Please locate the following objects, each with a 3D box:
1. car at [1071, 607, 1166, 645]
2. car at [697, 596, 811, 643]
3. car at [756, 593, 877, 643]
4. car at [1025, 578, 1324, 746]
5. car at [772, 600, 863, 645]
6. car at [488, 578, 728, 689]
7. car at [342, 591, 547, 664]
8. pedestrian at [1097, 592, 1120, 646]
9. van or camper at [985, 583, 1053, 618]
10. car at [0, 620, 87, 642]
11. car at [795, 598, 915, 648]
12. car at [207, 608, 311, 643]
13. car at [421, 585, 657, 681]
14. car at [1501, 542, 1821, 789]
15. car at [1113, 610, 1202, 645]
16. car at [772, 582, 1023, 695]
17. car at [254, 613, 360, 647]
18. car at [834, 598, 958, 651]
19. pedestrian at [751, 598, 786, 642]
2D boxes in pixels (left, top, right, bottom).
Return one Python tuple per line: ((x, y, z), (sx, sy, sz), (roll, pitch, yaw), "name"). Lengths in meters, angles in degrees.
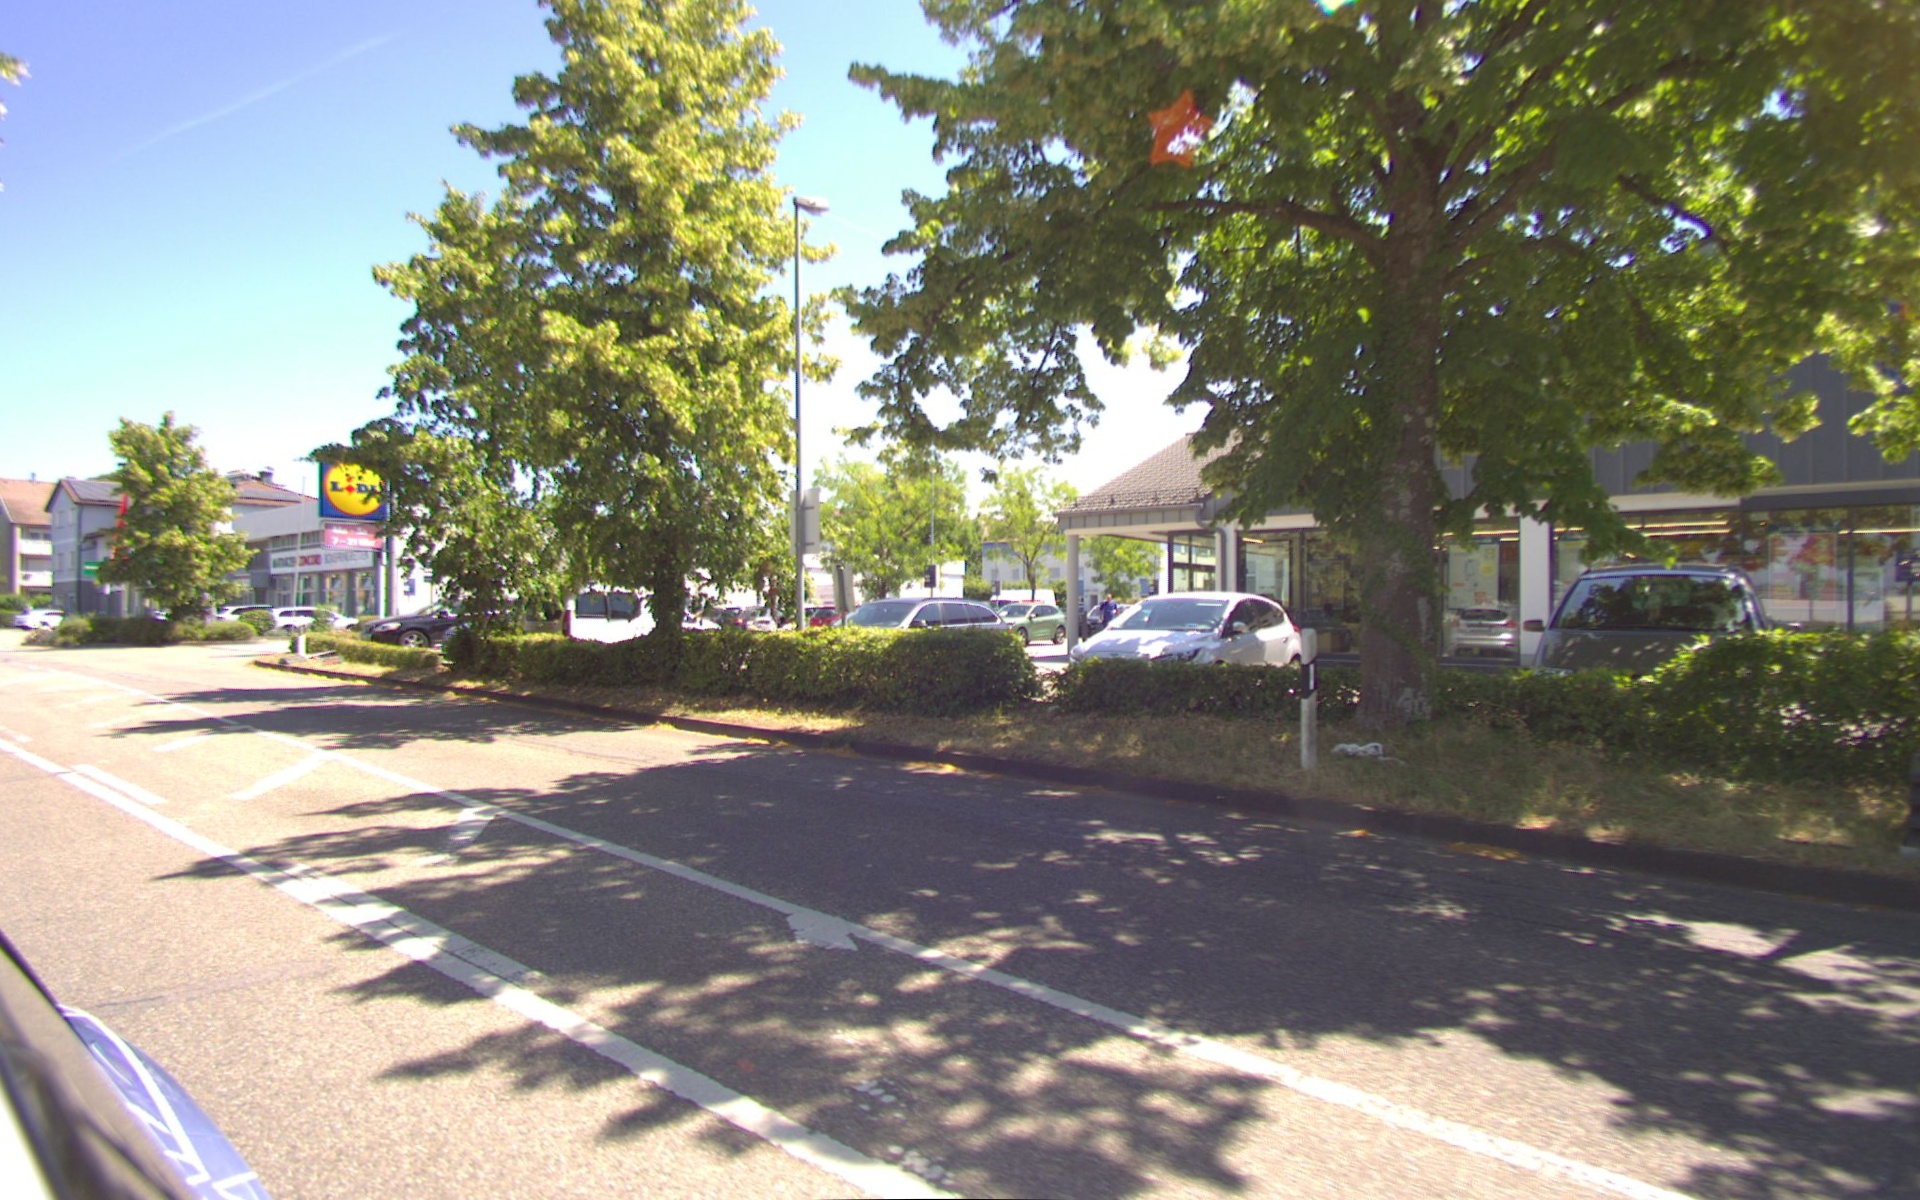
((7.334, 1.185, 46.984), (3.996, 1.613, 1.776), (0, 1, 39), "car")
((-7.812, 0.682, 38.695), (1.905, 1.618, 4.280), (0, 1, 31), "car")
((-5.247, 0.604, 37.478), (2.110, 1.667, 4.274), (0, 1, 36), "car")
((2.834, 0.593, 12.561), (1.892, 1.632, 4.359), (0, 2, 38), "car")
((-9.106, 1.365, 64.337), (5.893, 2.646, 2.259), (0, 2, 39), "car")
((-7.061, 0.566, 20.710), (1.902, 1.995, 4.316), (0, 1, 37), "car")
((-14.223, 0.675, 28.130), (2.099, 1.775, 4.656), (0, 1, 44), "car")
((5.137, 0.653, 34.984), (0.763, 1.819, 0.751), (-1, 1, 10), "pedestrian")
((3.607, -0.003, 61.125), (2.008, 1.951, 4.319), (0, 1, 38), "van or camper")
((-65.815, 2.226, 72.727), (1.920, 1.450, 4.337), (-1, 0, 13), "car")
((-3.630, 0.749, 35.701), (1.824, 1.541, 4.274), (0, 1, 36), "car")
((-37.372, 1.338, 54.004), (4.470, 1.676, 2.005), (-1, 0, -36), "car")
((-9.213, 0.631, 22.363), (4.335, 1.859, 2.105), (-2, 1, -45), "car")
((6.774, 0.409, 9.704), (2.070, 1.789, 4.359), (0, 2, 38), "car")
((9.823, 1.343, 50.496), (3.996, 1.613, 1.776), (0, 1, 39), "car")
((-0.900, 0.530, 16.588), (1.931, 1.536, 3.990), (0, 2, 38), "car")
((-31.506, 1.411, 48.851), (4.130, 1.457, 1.983), (-1, 0, -38), "car")
((-2.037, 0.741, 33.466), (1.824, 1.541, 4.274), (0, 1, 36), "car")
((-6.646, 0.676, 35.171), (0.889, 1.494, 0.799), (0, 1, 35), "pedestrian")
